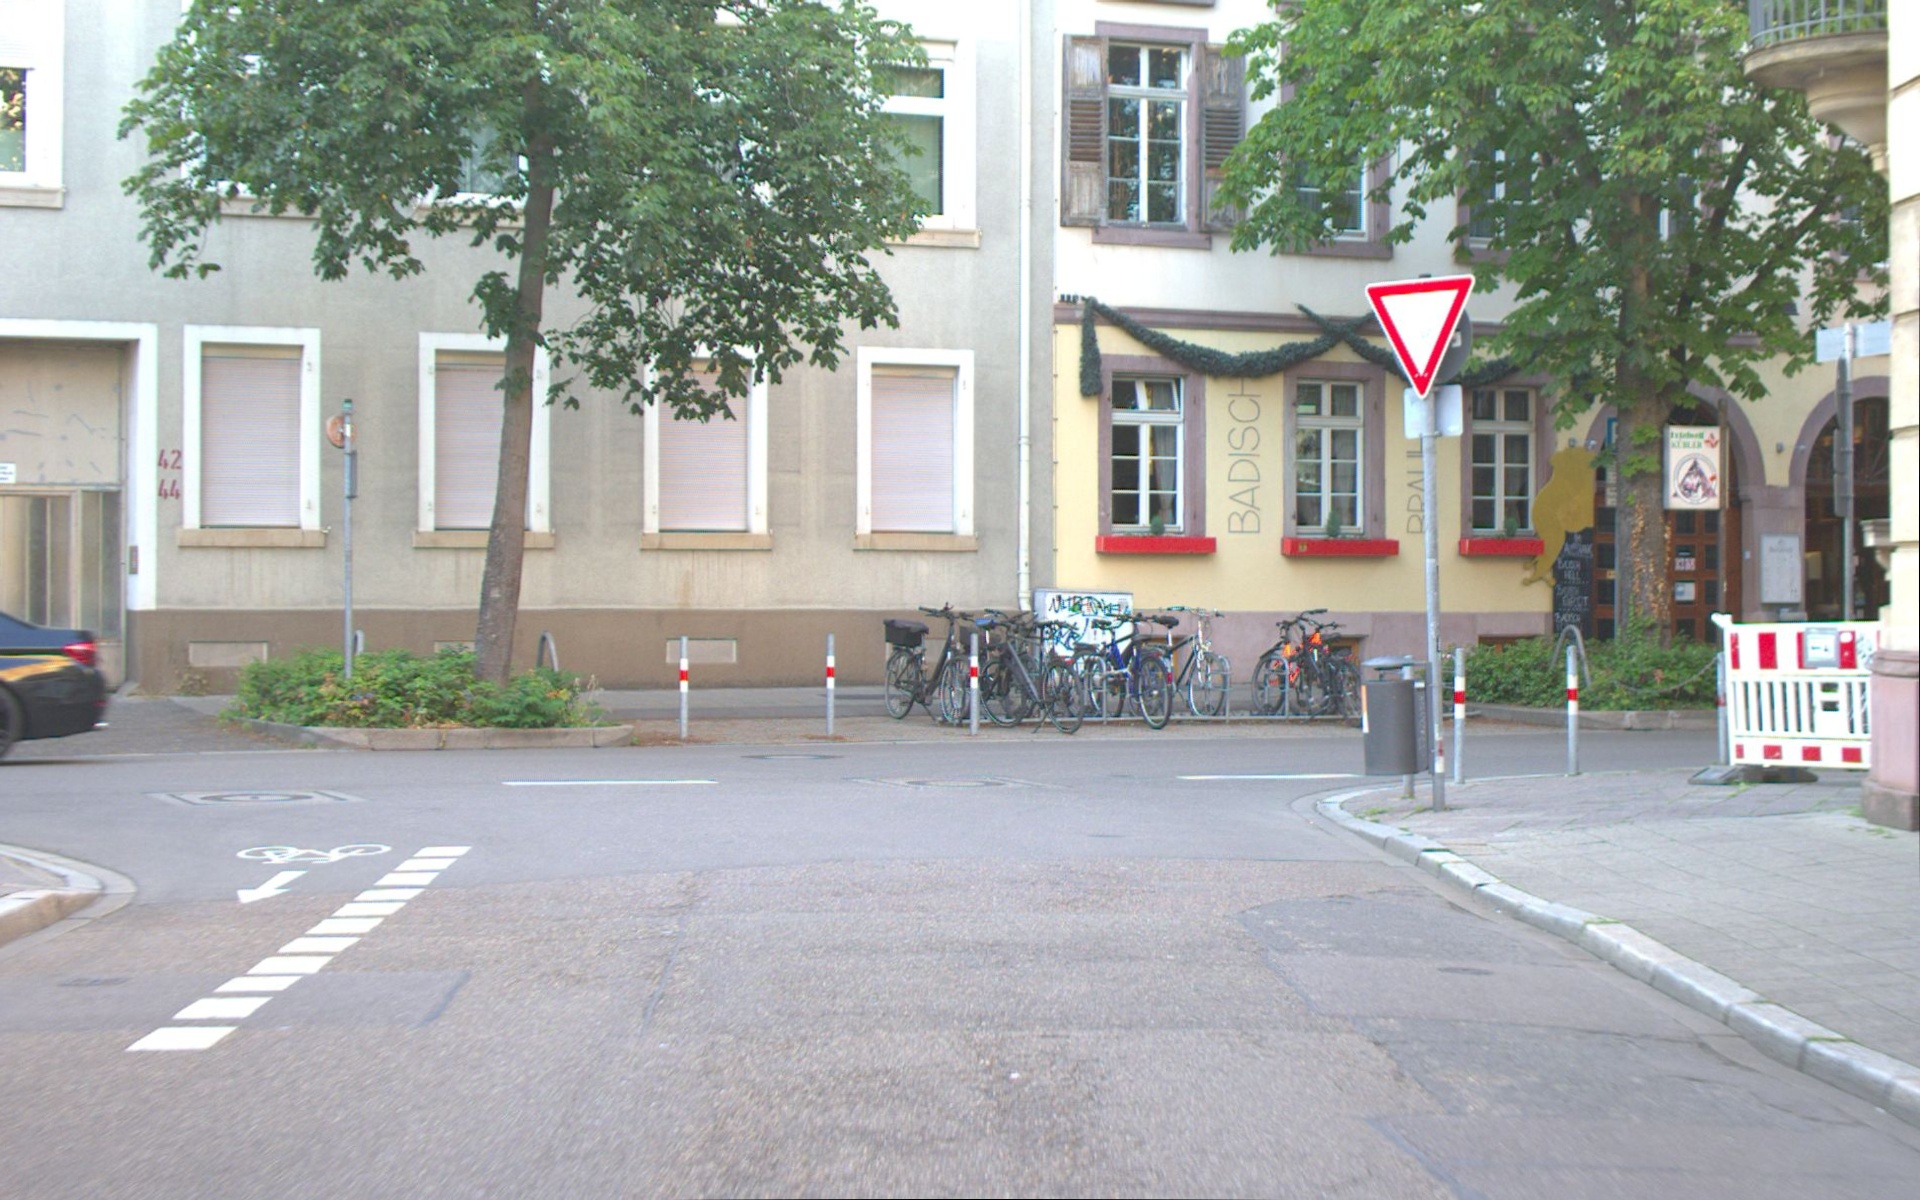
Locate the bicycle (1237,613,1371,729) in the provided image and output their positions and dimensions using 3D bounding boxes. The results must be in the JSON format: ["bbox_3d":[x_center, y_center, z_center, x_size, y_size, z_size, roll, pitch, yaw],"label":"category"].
[{"bbox_3d":[3.544,0.718,35.581,0.420,1.142,2.043,0,0,-24],"label":"bicycle"}]

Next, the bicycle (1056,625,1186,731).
[{"bbox_3d":[1.593,0.765,34.416,0.420,1.000,2.043,0,0,-24],"label":"bicycle"}]

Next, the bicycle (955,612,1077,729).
[{"bbox_3d":[0.559,0.702,35.166,0.420,1.142,2.043,0,0,-24],"label":"bicycle"}]

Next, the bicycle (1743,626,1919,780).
[{"bbox_3d":[6.728,0.751,25.588,1.864,1.085,0.364,-2,-1,-23],"label":"bicycle"}]

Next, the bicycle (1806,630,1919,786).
[{"bbox_3d":[7.046,0.760,24.986,1.864,1.085,0.364,-2,-1,-23],"label":"bicycle"}]

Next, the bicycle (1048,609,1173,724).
[{"bbox_3d":[1.554,0.672,35.748,0.420,1.142,2.043,0,0,-24],"label":"bicycle"}]

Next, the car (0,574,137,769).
[{"bbox_3d":[-8.702,0.541,25.743,4.652,1.445,1.768,0,0,-27],"label":"car"}]

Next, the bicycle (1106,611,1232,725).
[{"bbox_3d":[2.176,0.698,36.083,0.420,1.142,2.043,0,0,-24],"label":"bicycle"}]

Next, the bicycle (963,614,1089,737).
[{"bbox_3d":[0.626,0.722,33.622,0.445,1.142,2.043,0,0,-23],"label":"bicycle"}]

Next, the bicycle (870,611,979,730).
[{"bbox_3d":[-0.377,0.696,34.762,0.445,1.142,2.043,0,0,-20],"label":"bicycle"}]
